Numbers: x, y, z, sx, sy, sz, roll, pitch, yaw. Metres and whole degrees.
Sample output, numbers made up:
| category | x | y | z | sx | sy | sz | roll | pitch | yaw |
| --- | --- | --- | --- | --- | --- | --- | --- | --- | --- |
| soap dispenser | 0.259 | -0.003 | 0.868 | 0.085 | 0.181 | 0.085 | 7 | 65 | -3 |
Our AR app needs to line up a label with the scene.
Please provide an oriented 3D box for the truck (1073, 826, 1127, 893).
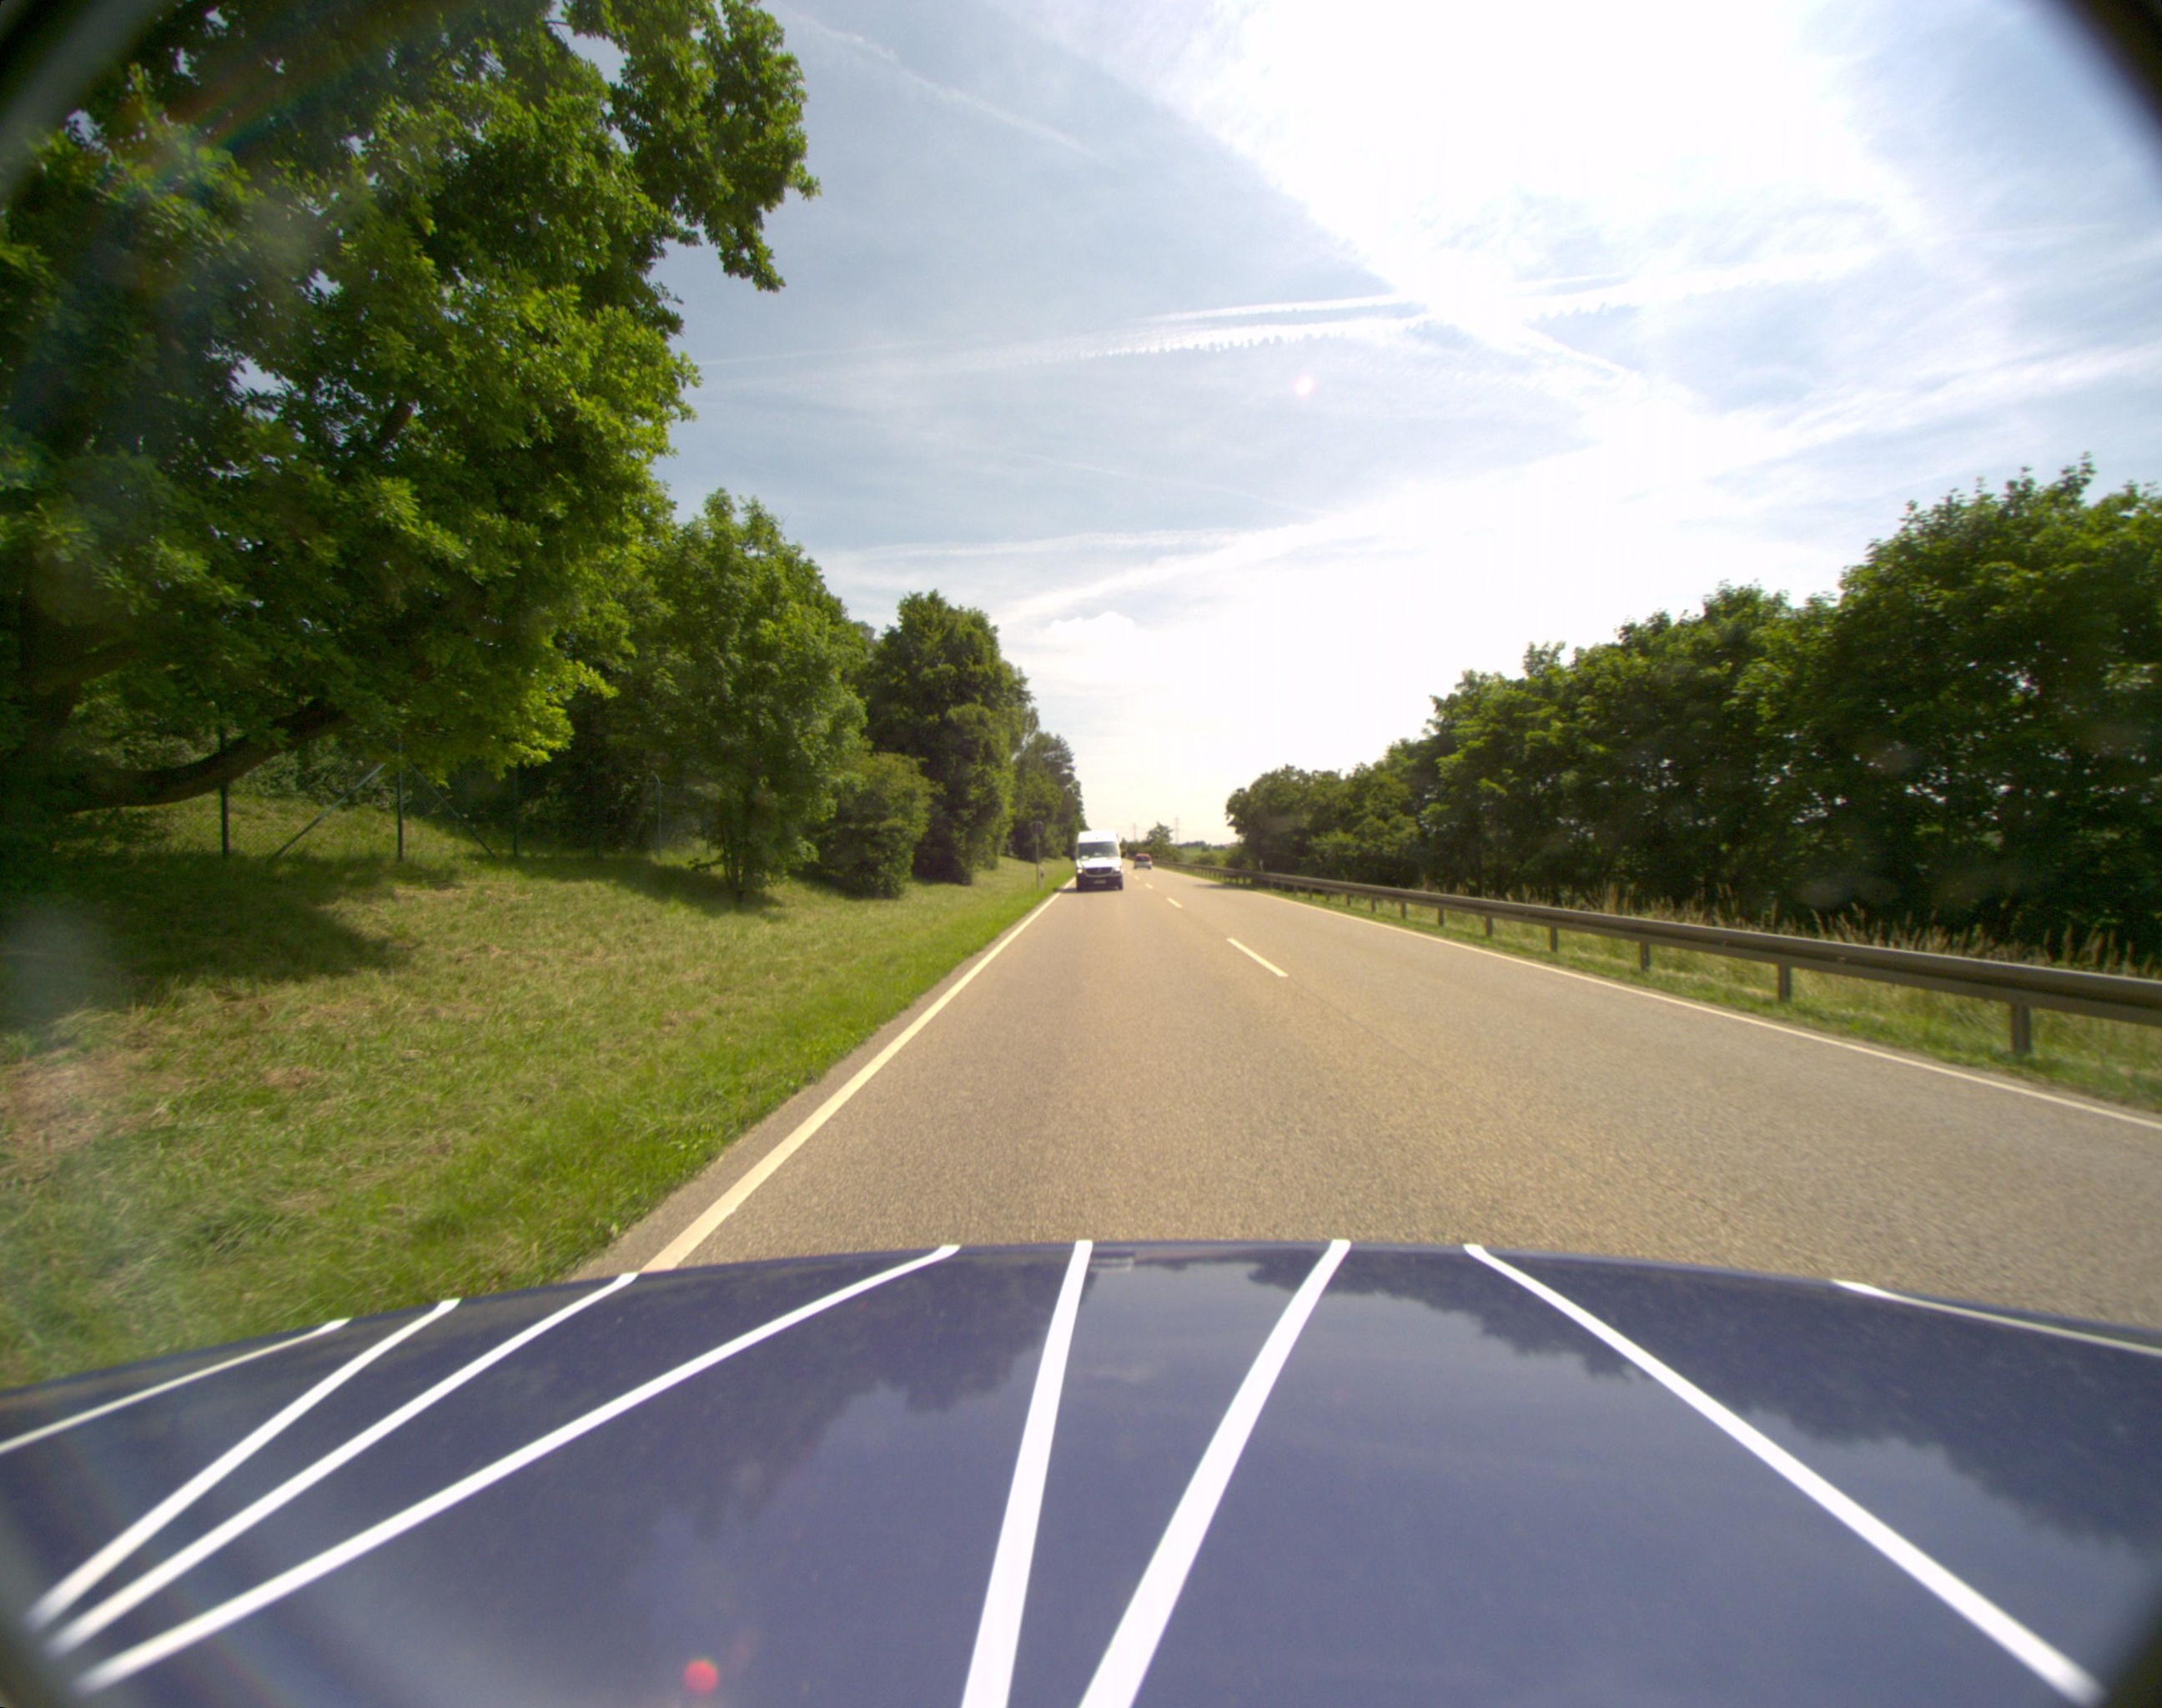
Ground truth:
| category | x | y | z | sx | sy | sz | roll | pitch | yaw |
| --- | --- | --- | --- | --- | --- | --- | --- | --- | --- |
| truck | 0.861 | 0.211 | 33.086 | 2.022 | 2.567 | 7.226 | -1 | 0 | 2 |

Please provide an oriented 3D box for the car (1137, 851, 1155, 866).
| category | x | y | z | sx | sy | sz | roll | pitch | yaw |
| --- | --- | --- | --- | --- | --- | --- | --- | --- | --- |
| car | 6.452 | 0.411 | 76.034 | 1.561 | 1.454 | 3.550 | 2 | 1 | 2 |
